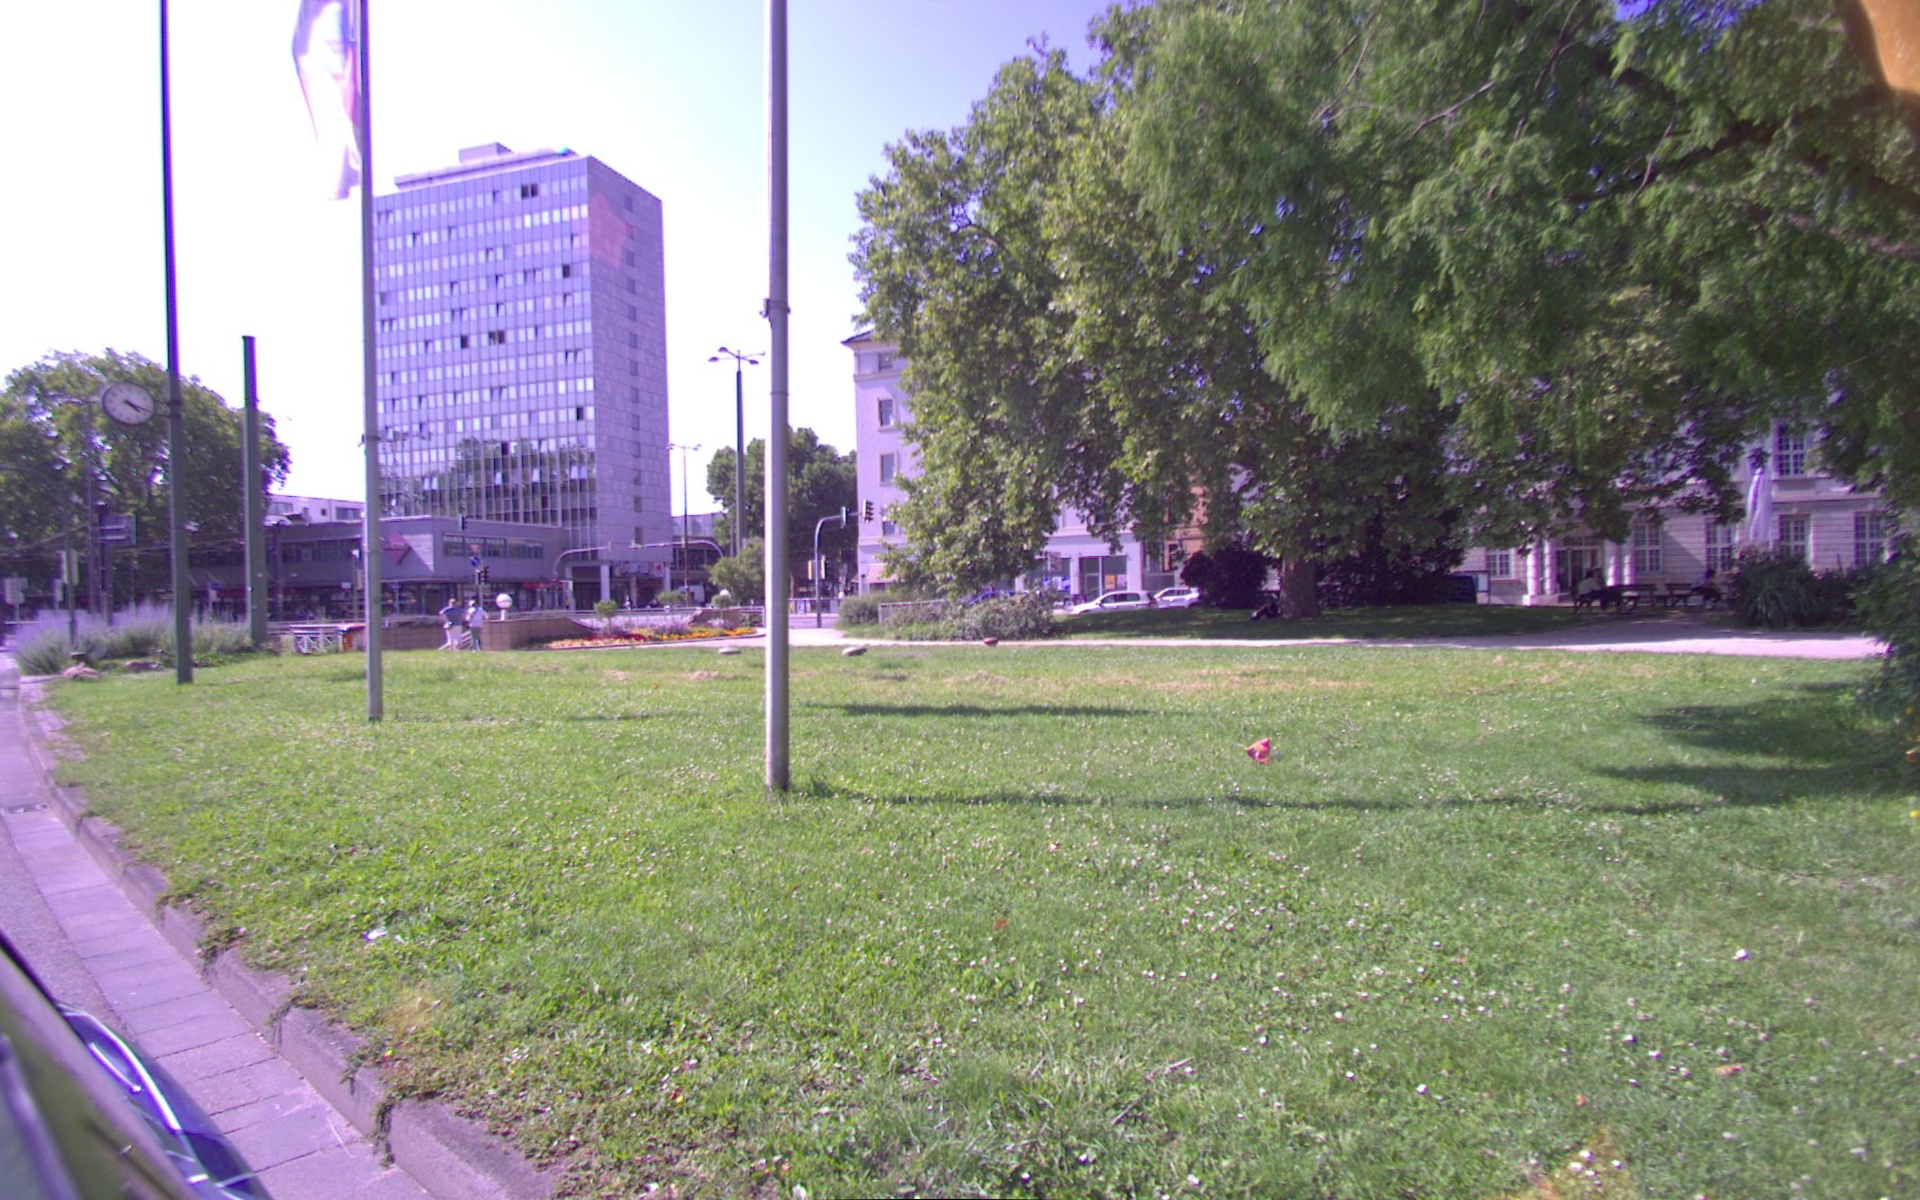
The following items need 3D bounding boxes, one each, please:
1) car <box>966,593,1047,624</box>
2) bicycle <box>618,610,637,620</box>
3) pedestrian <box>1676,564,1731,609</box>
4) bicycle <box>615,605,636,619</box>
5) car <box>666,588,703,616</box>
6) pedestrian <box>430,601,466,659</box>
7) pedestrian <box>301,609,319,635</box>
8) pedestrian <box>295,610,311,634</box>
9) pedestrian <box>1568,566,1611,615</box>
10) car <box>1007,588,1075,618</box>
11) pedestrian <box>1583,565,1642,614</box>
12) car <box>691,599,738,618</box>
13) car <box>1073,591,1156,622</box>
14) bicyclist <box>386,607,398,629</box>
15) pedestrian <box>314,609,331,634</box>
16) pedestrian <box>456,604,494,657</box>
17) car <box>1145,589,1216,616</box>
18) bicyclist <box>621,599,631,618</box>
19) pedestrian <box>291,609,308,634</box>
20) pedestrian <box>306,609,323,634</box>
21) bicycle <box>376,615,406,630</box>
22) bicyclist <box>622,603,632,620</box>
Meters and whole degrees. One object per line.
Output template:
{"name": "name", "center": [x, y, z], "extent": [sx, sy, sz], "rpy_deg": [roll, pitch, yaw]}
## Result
{"name": "car", "center": [2.245, 0.396, 48.209], "extent": [3.554, 1.356, 1.603], "rpy_deg": [-2, 0, 17]}
{"name": "bicycle", "center": [-31.301, 1.381, 95.213], "extent": [0.590, 0.889, 1.794], "rpy_deg": [0, 1, 28]}
{"name": "pedestrian", "center": [21.264, -0.373, 28.948], "extent": [0.744, 1.235, 1.061], "rpy_deg": [-2, 1, -32]}
{"name": "bicycle", "center": [-32.127, 1.117, 97.211], "extent": [0.714, 1.309, 1.918], "rpy_deg": [0, 1, 34]}
{"name": "car", "center": [-30.134, 0.207, 110.821], "extent": [1.731, 2.938, 4.615], "rpy_deg": [-2, 0, 14]}
{"name": "pedestrian", "center": [-14.687, 0.853, 29.041], "extent": [0.597, 1.605, 0.685], "rpy_deg": [-2, 0, 29]}
{"name": "pedestrian", "center": [-47.119, 1.574, 73.355], "extent": [0.665, 1.850, 0.819], "rpy_deg": [-1, 0, 16]}
{"name": "pedestrian", "center": [-49.943, 1.643, 76.893], "extent": [0.669, 1.820, 0.814], "rpy_deg": [-1, 0, 34]}
{"name": "pedestrian", "center": [16.395, -0.242, 26.347], "extent": [0.744, 1.235, 0.672], "rpy_deg": [-2, 1, -32]}
{"name": "car", "center": [4.346, 0.138, 54.307], "extent": [3.380, 1.475, 1.509], "rpy_deg": [-2, 0, 17]}
{"name": "pedestrian", "center": [17.100, -0.274, 26.540], "extent": [0.744, 1.235, 1.061], "rpy_deg": [-2, 1, -32]}
{"name": "car", "center": [-22.157, 0.729, 91.484], "extent": [1.875, 1.545, 4.037], "rpy_deg": [-2, 0, 30]}
{"name": "car", "center": [7.123, 0.275, 46.447], "extent": [3.554, 1.278, 1.603], "rpy_deg": [-2, 0, 17]}
{"name": "bicyclist", "center": [-44.844, 1.453, 79.907], "extent": [0.674, 1.700, 0.584], "rpy_deg": [-2, 0, -43]}
{"name": "pedestrian", "center": [-47.153, 1.599, 74.803], "extent": [0.665, 1.850, 0.819], "rpy_deg": [-1, 0, 17]}
{"name": "pedestrian", "center": [-14.199, 0.881, 29.629], "extent": [0.473, 1.521, 0.843], "rpy_deg": [-2, 0, 29]}
{"name": "car", "center": [11.238, 0.116, 51.517], "extent": [3.380, 1.248, 1.509], "rpy_deg": [-2, 0, 17]}
{"name": "bicyclist", "center": [-32.112, 0.836, 97.252], "extent": [0.695, 1.781, 0.676], "rpy_deg": [0, 1, 34]}
{"name": "pedestrian", "center": [-49.041, 1.615, 75.130], "extent": [0.665, 1.850, 0.819], "rpy_deg": [-1, 0, 16]}
{"name": "pedestrian", "center": [-47.860, 1.597, 75.054], "extent": [0.729, 1.850, 0.819], "rpy_deg": [-1, 0, 17]}
{"name": "bicycle", "center": [-44.914, 1.762, 79.856], "extent": [1.939, 1.110, 0.577], "rpy_deg": [-2, 0, -43]}
{"name": "bicyclist", "center": [-31.315, 1.058, 95.185], "extent": [0.580, 1.538, 0.678], "rpy_deg": [0, 1, 28]}
